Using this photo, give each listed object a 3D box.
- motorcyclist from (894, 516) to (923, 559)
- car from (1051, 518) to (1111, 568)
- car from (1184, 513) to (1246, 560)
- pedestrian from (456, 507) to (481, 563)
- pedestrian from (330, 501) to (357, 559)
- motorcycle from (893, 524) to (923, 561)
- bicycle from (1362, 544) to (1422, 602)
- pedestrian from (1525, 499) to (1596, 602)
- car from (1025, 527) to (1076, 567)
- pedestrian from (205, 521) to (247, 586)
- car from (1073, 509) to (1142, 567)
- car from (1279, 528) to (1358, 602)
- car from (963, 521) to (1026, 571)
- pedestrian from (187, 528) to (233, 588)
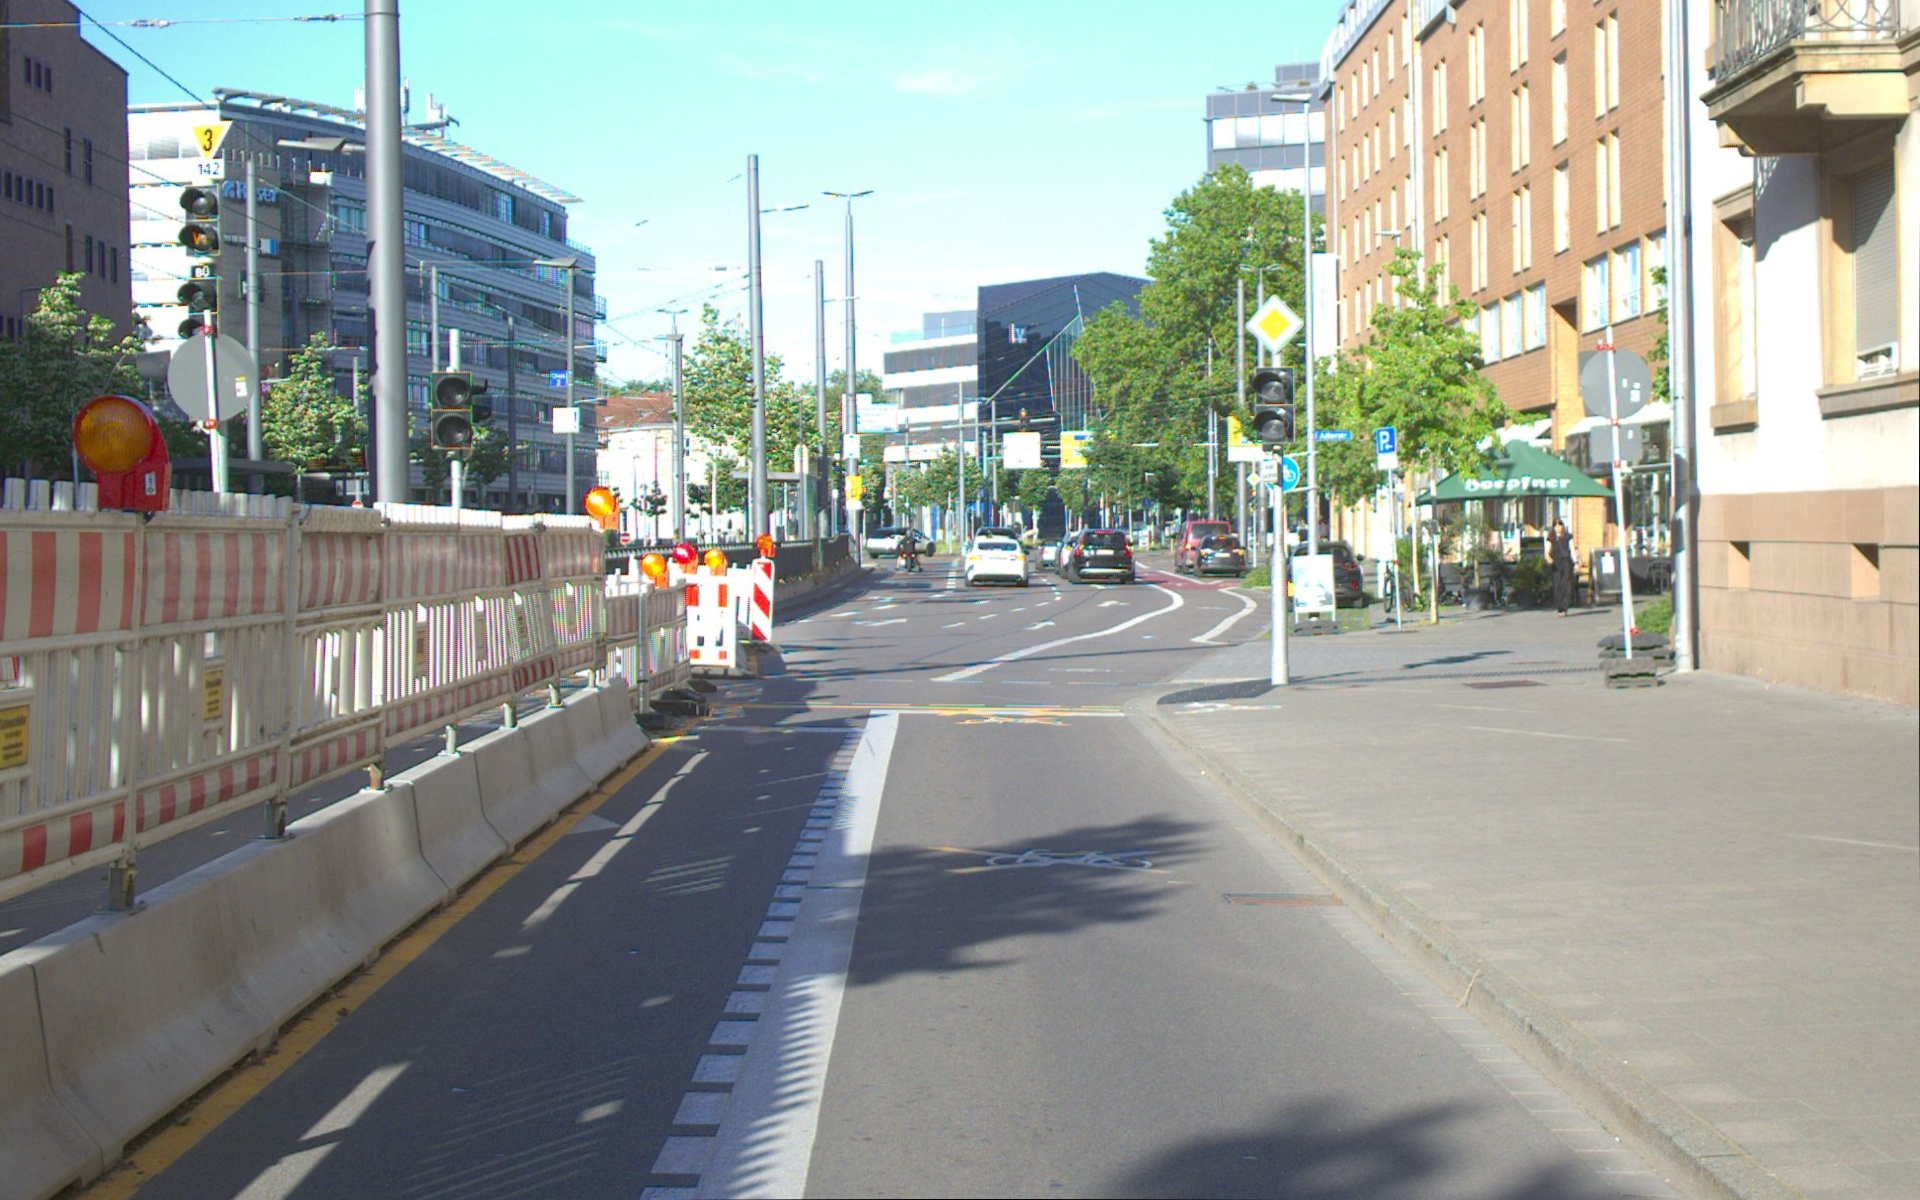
[{"bbox_3d":[-1.942,-2.335,128.638,1.019,1.598,1.148,1,1,1],"label":"motorcyclist"},{"bbox_3d":[4.075,-1.926,115.965,1.851,1.634,4.379,1,1,0],"label":"car"},{"bbox_3d":[8.931,-2.243,120.643,1.846,1.555,4.633,1,2,0],"label":"car"},{"bbox_3d":[-14.889,-1.981,104.251,0.640,1.690,0.541,1,1,1],"label":"pedestrian"},{"bbox_3d":[-15.699,-1.780,87.525,0.539,1.454,0.642,1,1,1],"label":"pedestrian"},{"bbox_3d":[-1.941,-2.161,128.612,1.019,1.307,2.915,1,1,0],"label":"motorcycle"},{"bbox_3d":[8.719,-0.537,69.468,0.765,1.077,1.998,-6,0,-3],"label":"bicycle"},{"bbox_3d":[10.576,-0.874,60.577,0.885,1.757,1.104,-2,0,27],"label":"pedestrian"},{"bbox_3d":[3.479,-2.077,133.057,1.851,1.492,4.379,0,2,0],"label":"car"},{"bbox_3d":[-15.211,-0.966,71.280,0.646,1.304,0.721,-2,1,0],"label":"pedestrian"},{"bbox_3d":[4.628,-1.961,108.554,1.975,1.753,4.633,1,1,0],"label":"car"},{"bbox_3d":[8.294,-0.823,79.401,1.721,1.631,4.230,-1,1,6],"label":"car"},{"bbox_3d":[1.013,-1.643,102.931,1.780,1.409,4.819,1,1,0],"label":"car"},{"bbox_3d":[-15.101,-0.843,69.242,0.721,1.164,0.721,-2,1,0],"label":"pedestrian"}]
